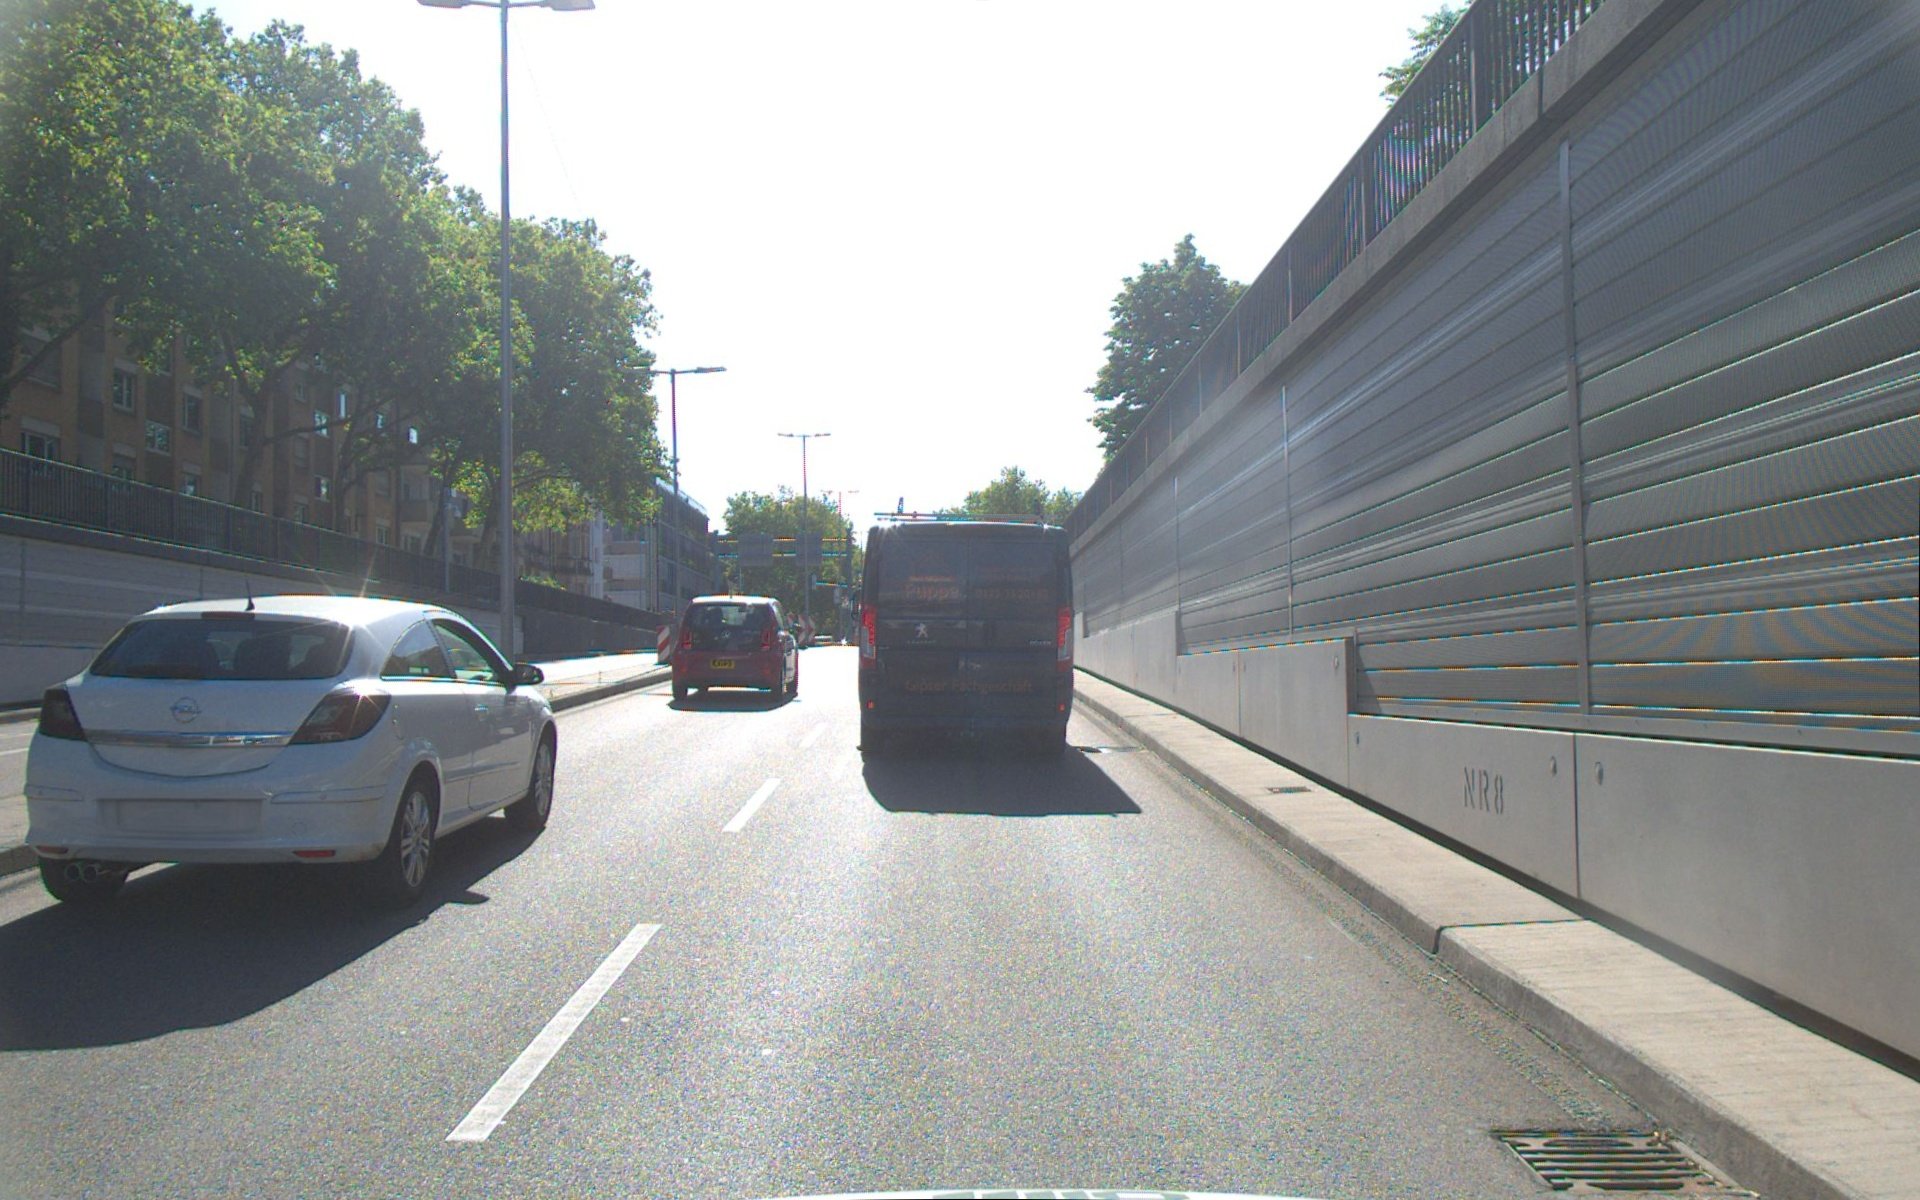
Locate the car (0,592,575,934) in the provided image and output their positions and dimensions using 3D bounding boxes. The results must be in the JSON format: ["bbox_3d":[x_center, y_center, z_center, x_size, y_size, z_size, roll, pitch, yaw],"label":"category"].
[{"bbox_3d":[-3.287,0.716,8.891,1.586,1.428,3.850,0,-1,-1],"label":"car"}]

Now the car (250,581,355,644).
[{"bbox_3d":[-22.404,0.465,56.564,1.926,1.995,4.524,1,-2,-3],"label":"car"}]

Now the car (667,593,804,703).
[{"bbox_3d":[-3.288,0.671,24.732,1.655,1.509,3.317,1,0,-1],"label":"car"}]

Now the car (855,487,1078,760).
[{"bbox_3d":[0.030,0.238,16.811,1.989,2.445,3.971,0,-1,-1],"label":"car"}]
